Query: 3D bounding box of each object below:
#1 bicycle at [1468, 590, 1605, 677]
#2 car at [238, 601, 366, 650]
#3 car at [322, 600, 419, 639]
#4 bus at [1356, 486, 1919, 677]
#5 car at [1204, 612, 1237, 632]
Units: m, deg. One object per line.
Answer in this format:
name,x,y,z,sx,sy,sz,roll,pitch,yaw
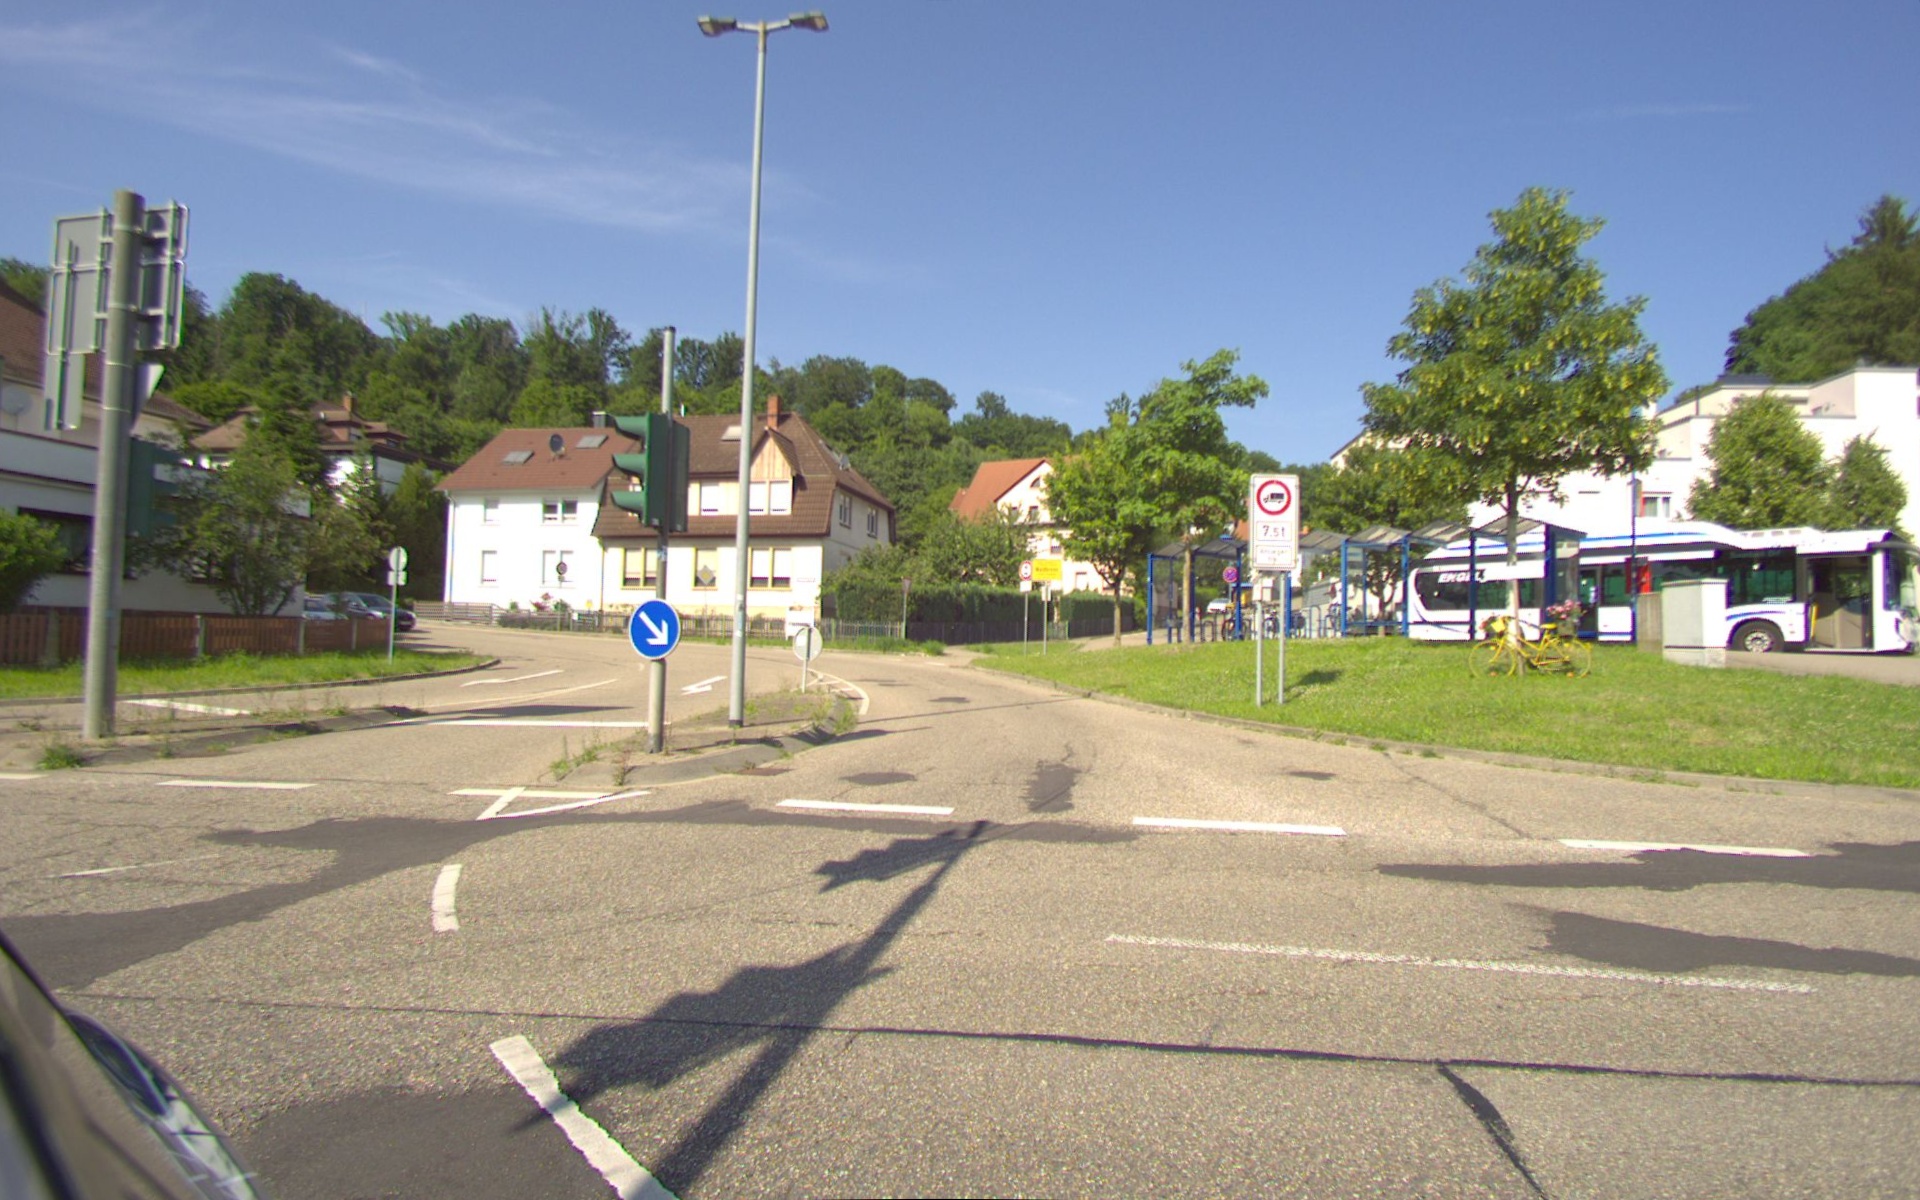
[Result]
bicycle,9.071,0.530,15.988,1.745,1.265,0.616,-3,1,22
car,-23.432,0.920,36.061,3.972,1.649,1.926,-2,-1,22
car,-23.795,0.794,40.815,3.992,1.519,1.976,-2,-1,36
bus,16.404,-0.228,25.501,2.823,3.742,12.244,0,-1,-37
car,24.321,2.077,94.488,1.992,1.822,3.959,-1,-2,30
